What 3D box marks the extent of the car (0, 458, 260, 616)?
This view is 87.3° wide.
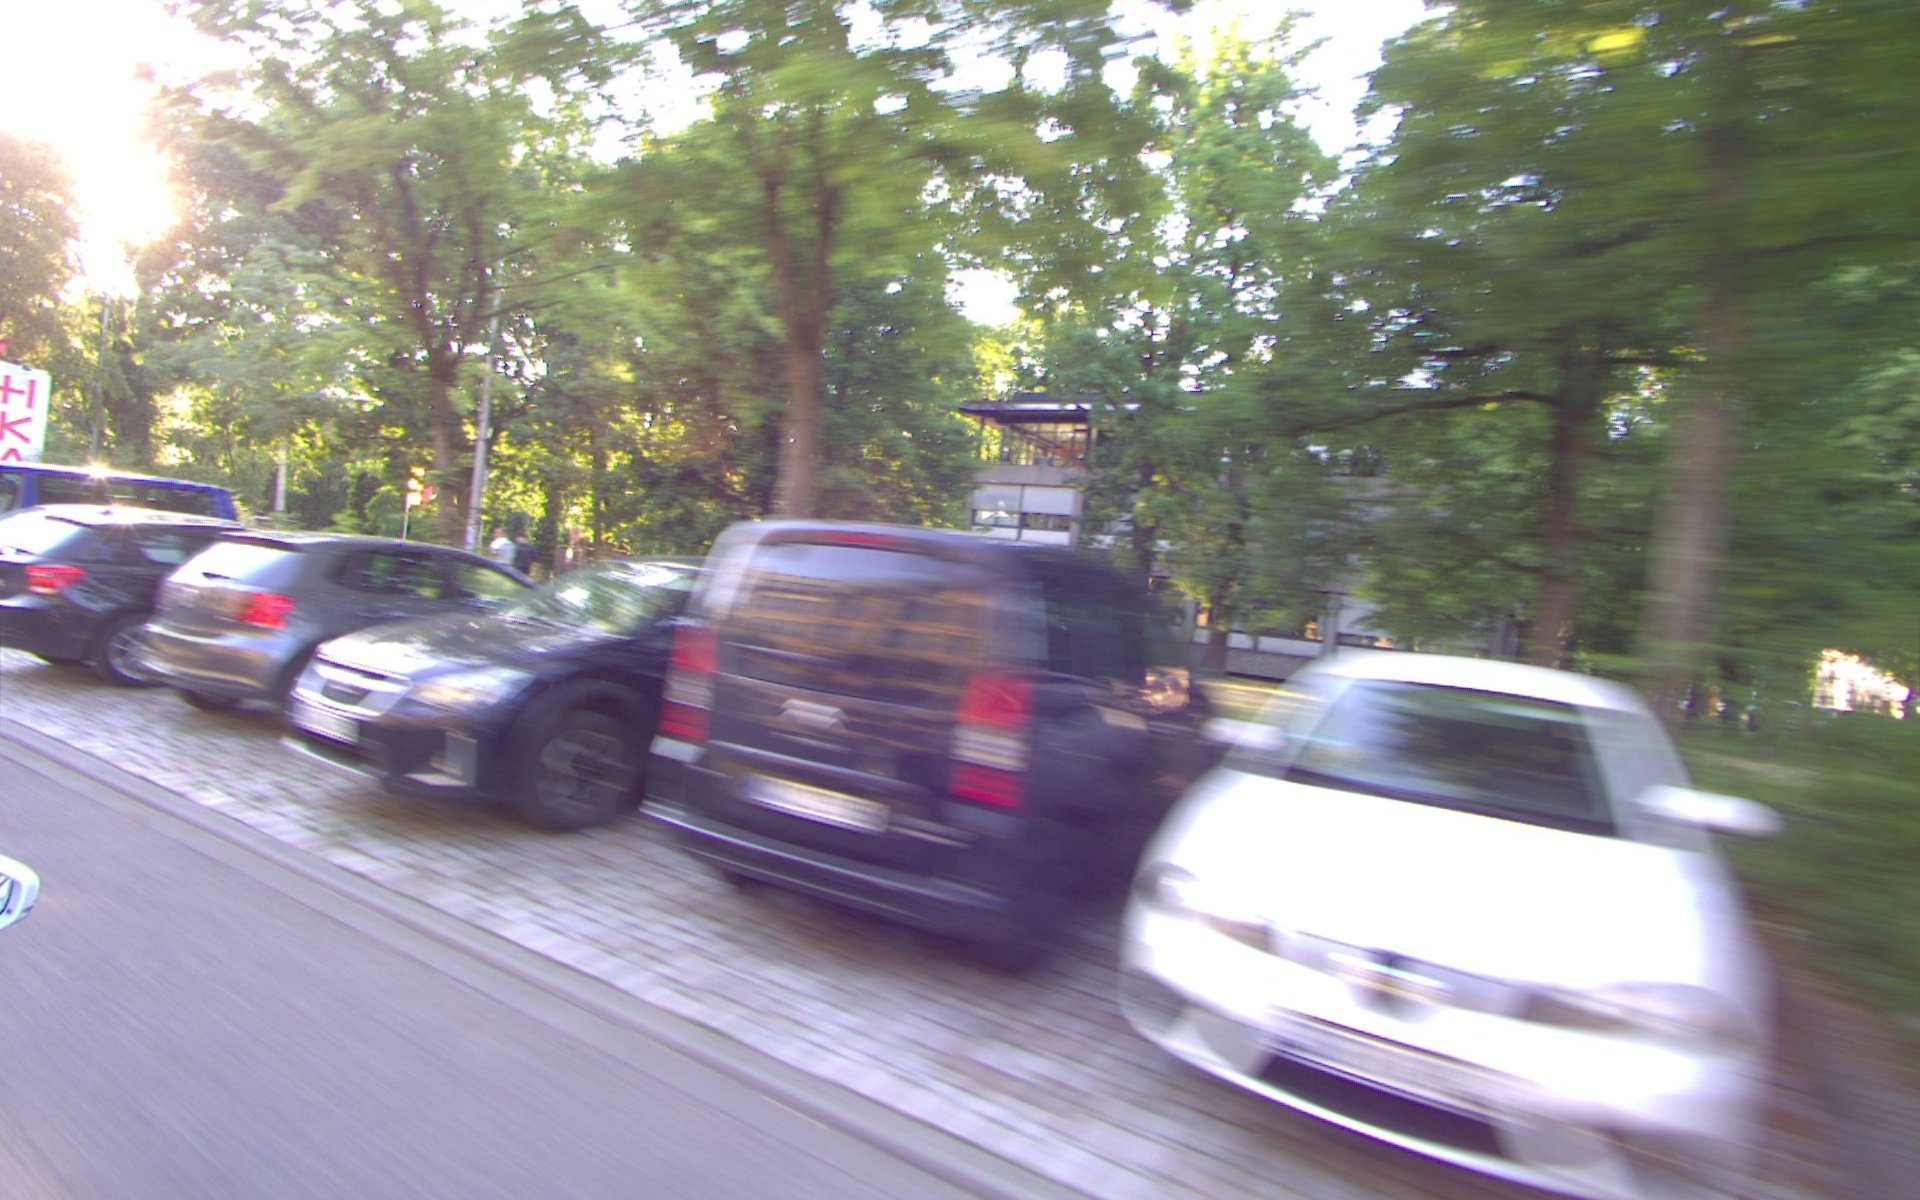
[{"bbox_3d":[-12.704,-0.899,13.647,1.884,1.941,4.855,7,2,30],"label":"car"}]

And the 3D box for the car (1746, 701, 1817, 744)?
[{"bbox_3d":[36.619,5.433,44.939,1.708,1.495,3.992,6,0,31],"label":"car"}]

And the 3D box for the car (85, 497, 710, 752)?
[{"bbox_3d":[-4.494,0.186,8.803,1.888,1.557,4.366,7,1,30],"label":"car"}]

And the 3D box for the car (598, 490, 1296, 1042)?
[{"bbox_3d":[0.399,0.592,5.758,1.888,1.804,4.366,7,2,30],"label":"car"}]

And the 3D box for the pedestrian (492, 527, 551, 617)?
[{"bbox_3d":[-9.330,-0.586,21.413,0.776,1.793,0.648,6,0,27],"label":"pedestrian"}]

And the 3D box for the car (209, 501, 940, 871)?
[{"bbox_3d":[-2.111,0.416,6.829,1.844,1.574,4.366,7,1,30],"label":"car"}]

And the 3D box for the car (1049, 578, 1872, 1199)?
[{"bbox_3d":[2.150,0.877,4.412,1.698,1.574,4.366,7,2,30],"label":"car"}]

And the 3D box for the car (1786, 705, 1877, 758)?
[{"bbox_3d":[32.141,4.805,37.210,1.708,1.495,3.992,6,0,31],"label":"car"}]

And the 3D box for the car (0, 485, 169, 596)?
[{"bbox_3d":[-15.193,-1.018,15.017,1.884,1.574,4.930,7,1,30],"label":"car"}]

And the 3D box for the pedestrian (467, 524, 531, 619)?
[{"bbox_3d":[-9.362,-0.568,20.441,0.772,1.794,0.665,7,1,26],"label":"pedestrian"}]

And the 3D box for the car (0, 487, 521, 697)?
[{"bbox_3d":[-6.871,-0.067,9.868,1.888,1.557,4.366,7,1,30],"label":"car"}]

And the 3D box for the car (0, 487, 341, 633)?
[{"bbox_3d":[-10.780,-0.498,12.480,1.884,1.574,4.930,7,1,30],"label":"car"}]
